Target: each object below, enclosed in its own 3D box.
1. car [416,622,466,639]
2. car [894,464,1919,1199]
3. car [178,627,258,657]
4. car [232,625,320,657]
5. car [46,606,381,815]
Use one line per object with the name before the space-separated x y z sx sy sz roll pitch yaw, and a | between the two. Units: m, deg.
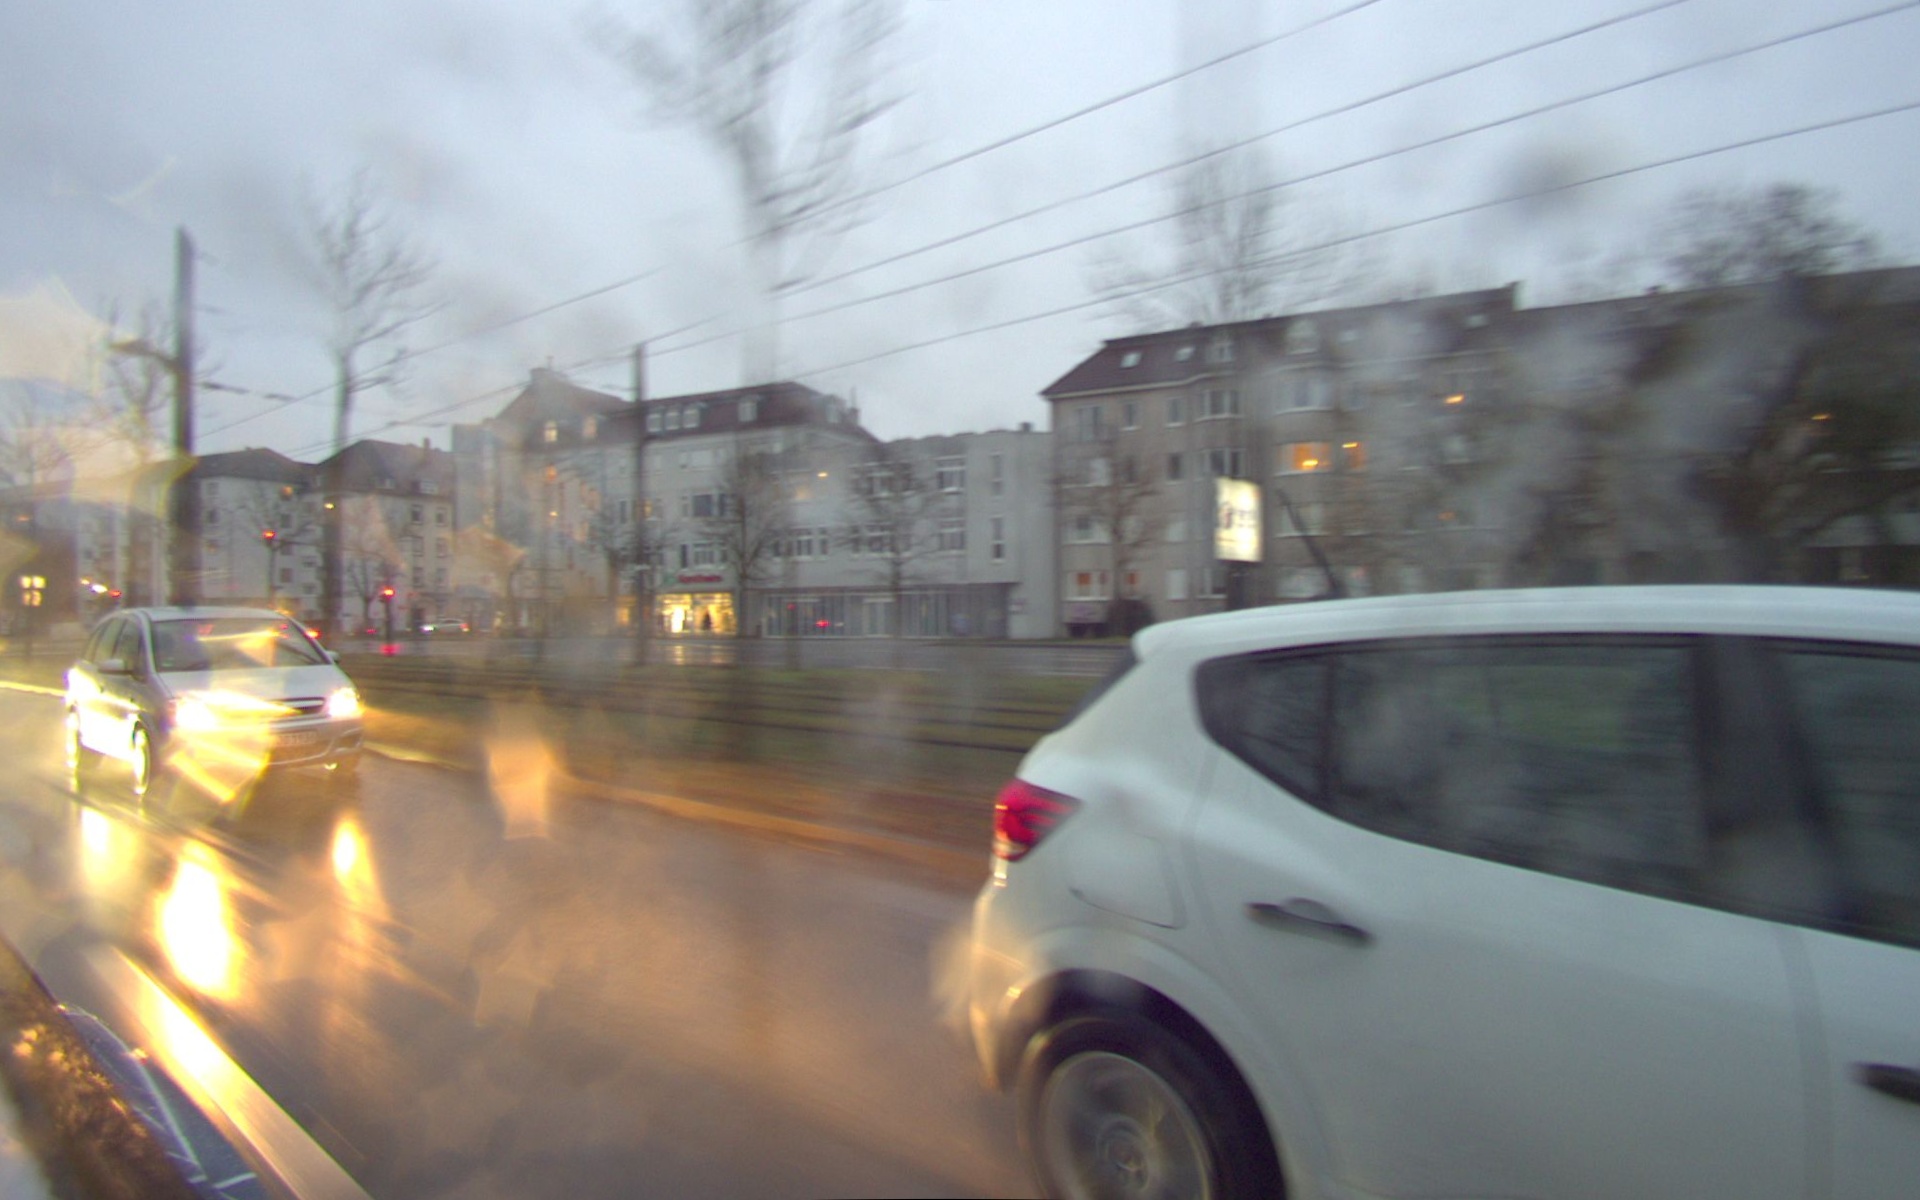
car | -48.433 2.840 94.518 1.772 1.487 3.858 -1 -1 31
car | 1.911 0.596 1.749 4.135 1.536 1.690 -1 -1 44
car | -36.228 2.042 49.378 4.279 1.365 1.876 -2 -1 35
car | -31.023 1.851 45.878 4.278 1.365 1.876 -2 -1 34
car | -7.193 0.882 9.616 3.918 1.587 1.649 -1 -1 39
